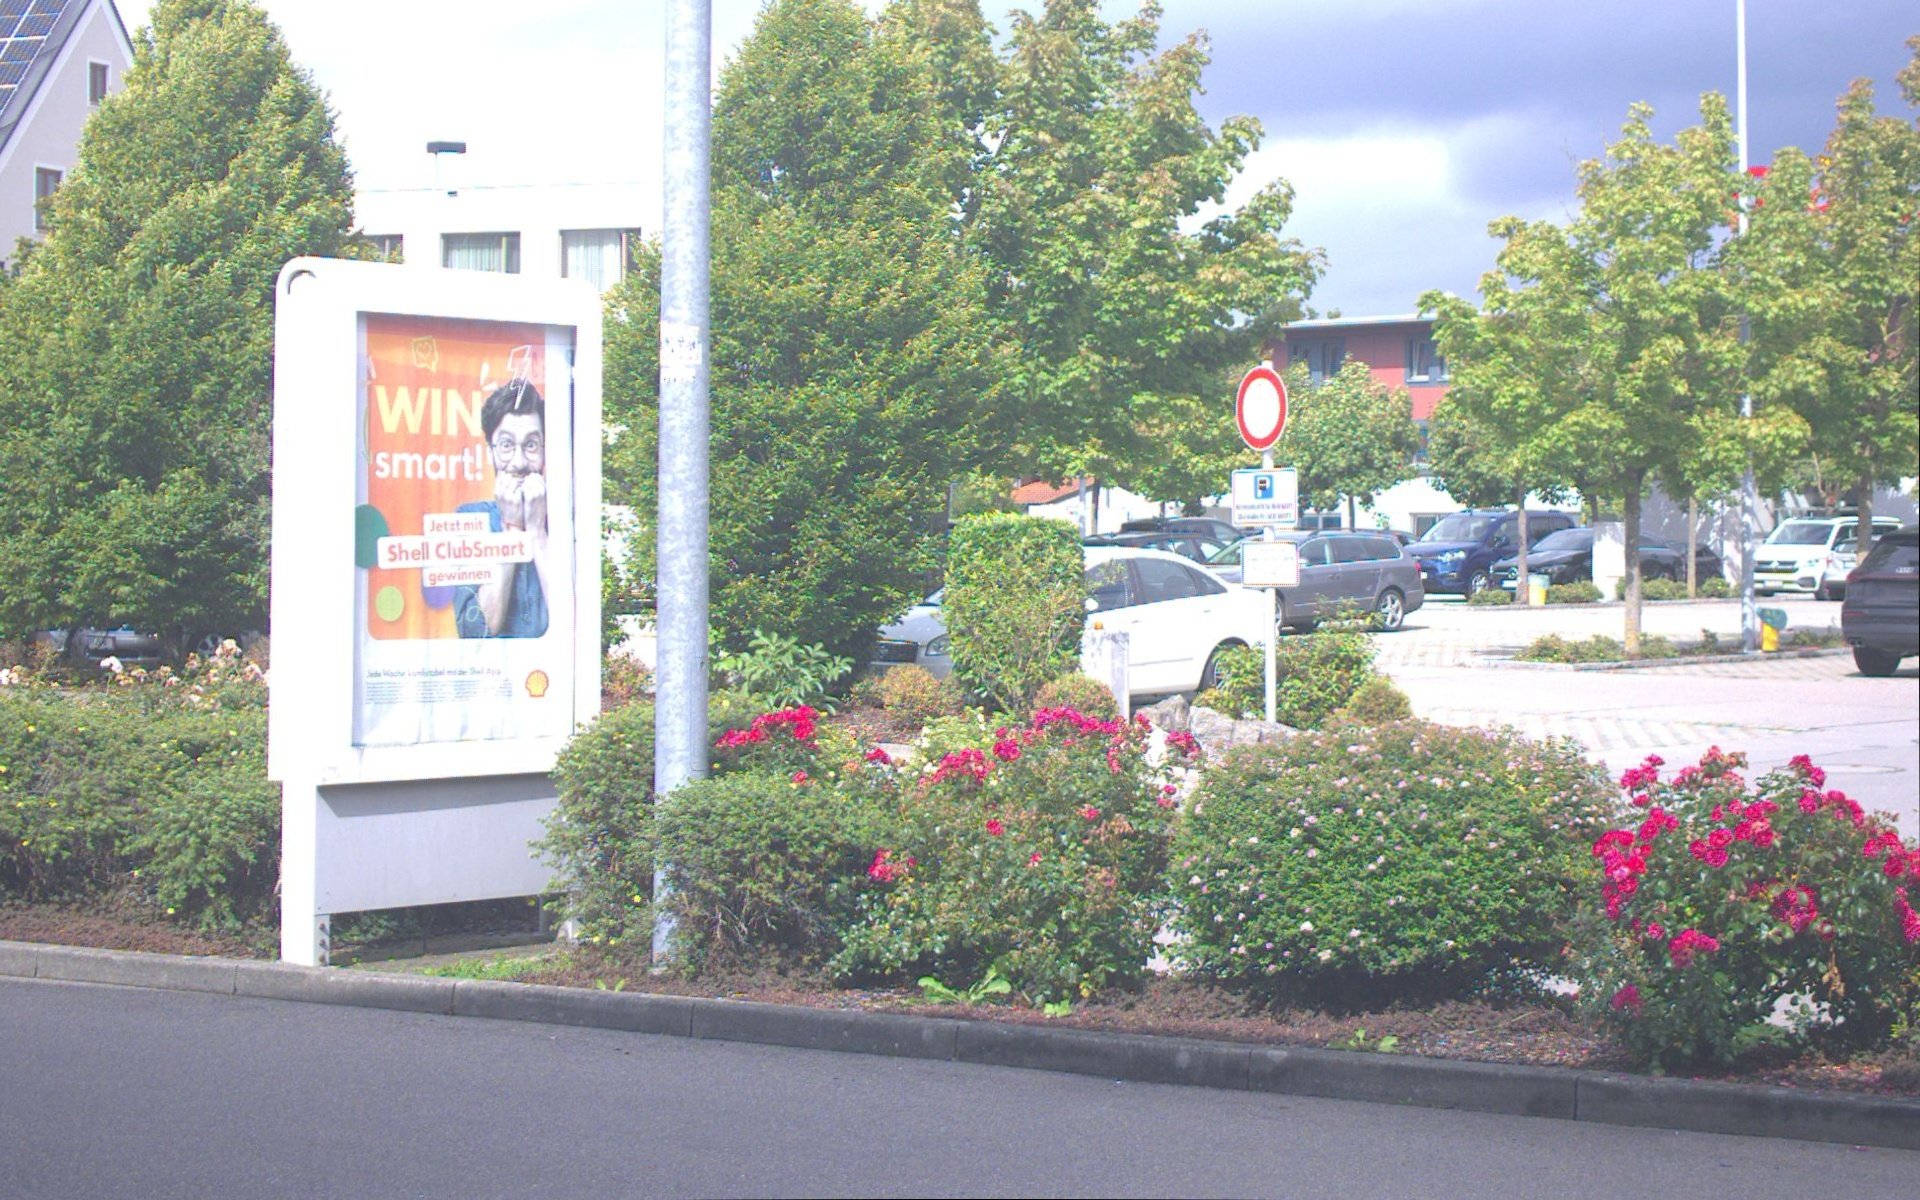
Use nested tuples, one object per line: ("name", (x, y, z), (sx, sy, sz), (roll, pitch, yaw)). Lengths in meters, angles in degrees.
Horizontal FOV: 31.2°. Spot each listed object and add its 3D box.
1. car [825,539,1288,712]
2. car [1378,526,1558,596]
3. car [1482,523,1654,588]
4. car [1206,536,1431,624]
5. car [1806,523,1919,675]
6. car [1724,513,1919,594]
("car", (0.907, 0.206, 29.924), (4.332, 1.399, 1.370), (0, 1, -44))
("car", (9.890, -0.757, 66.780), (3.379, 1.316, 1.747), (0, 1, -44))
("car", (11.519, -0.839, 65.032), (3.409, 1.174, 1.485), (0, 1, -44))
("car", (5.206, -0.288, 49.713), (3.218, 1.224, 1.505), (0, 1, -44))
("car", (11.136, -0.006, 36.727), (4.491, 1.543, 1.885), (0, 1, -43))
("car", (20.252, -1.086, 80.638), (4.864, 1.827, 2.184), (0, 1, -43))
